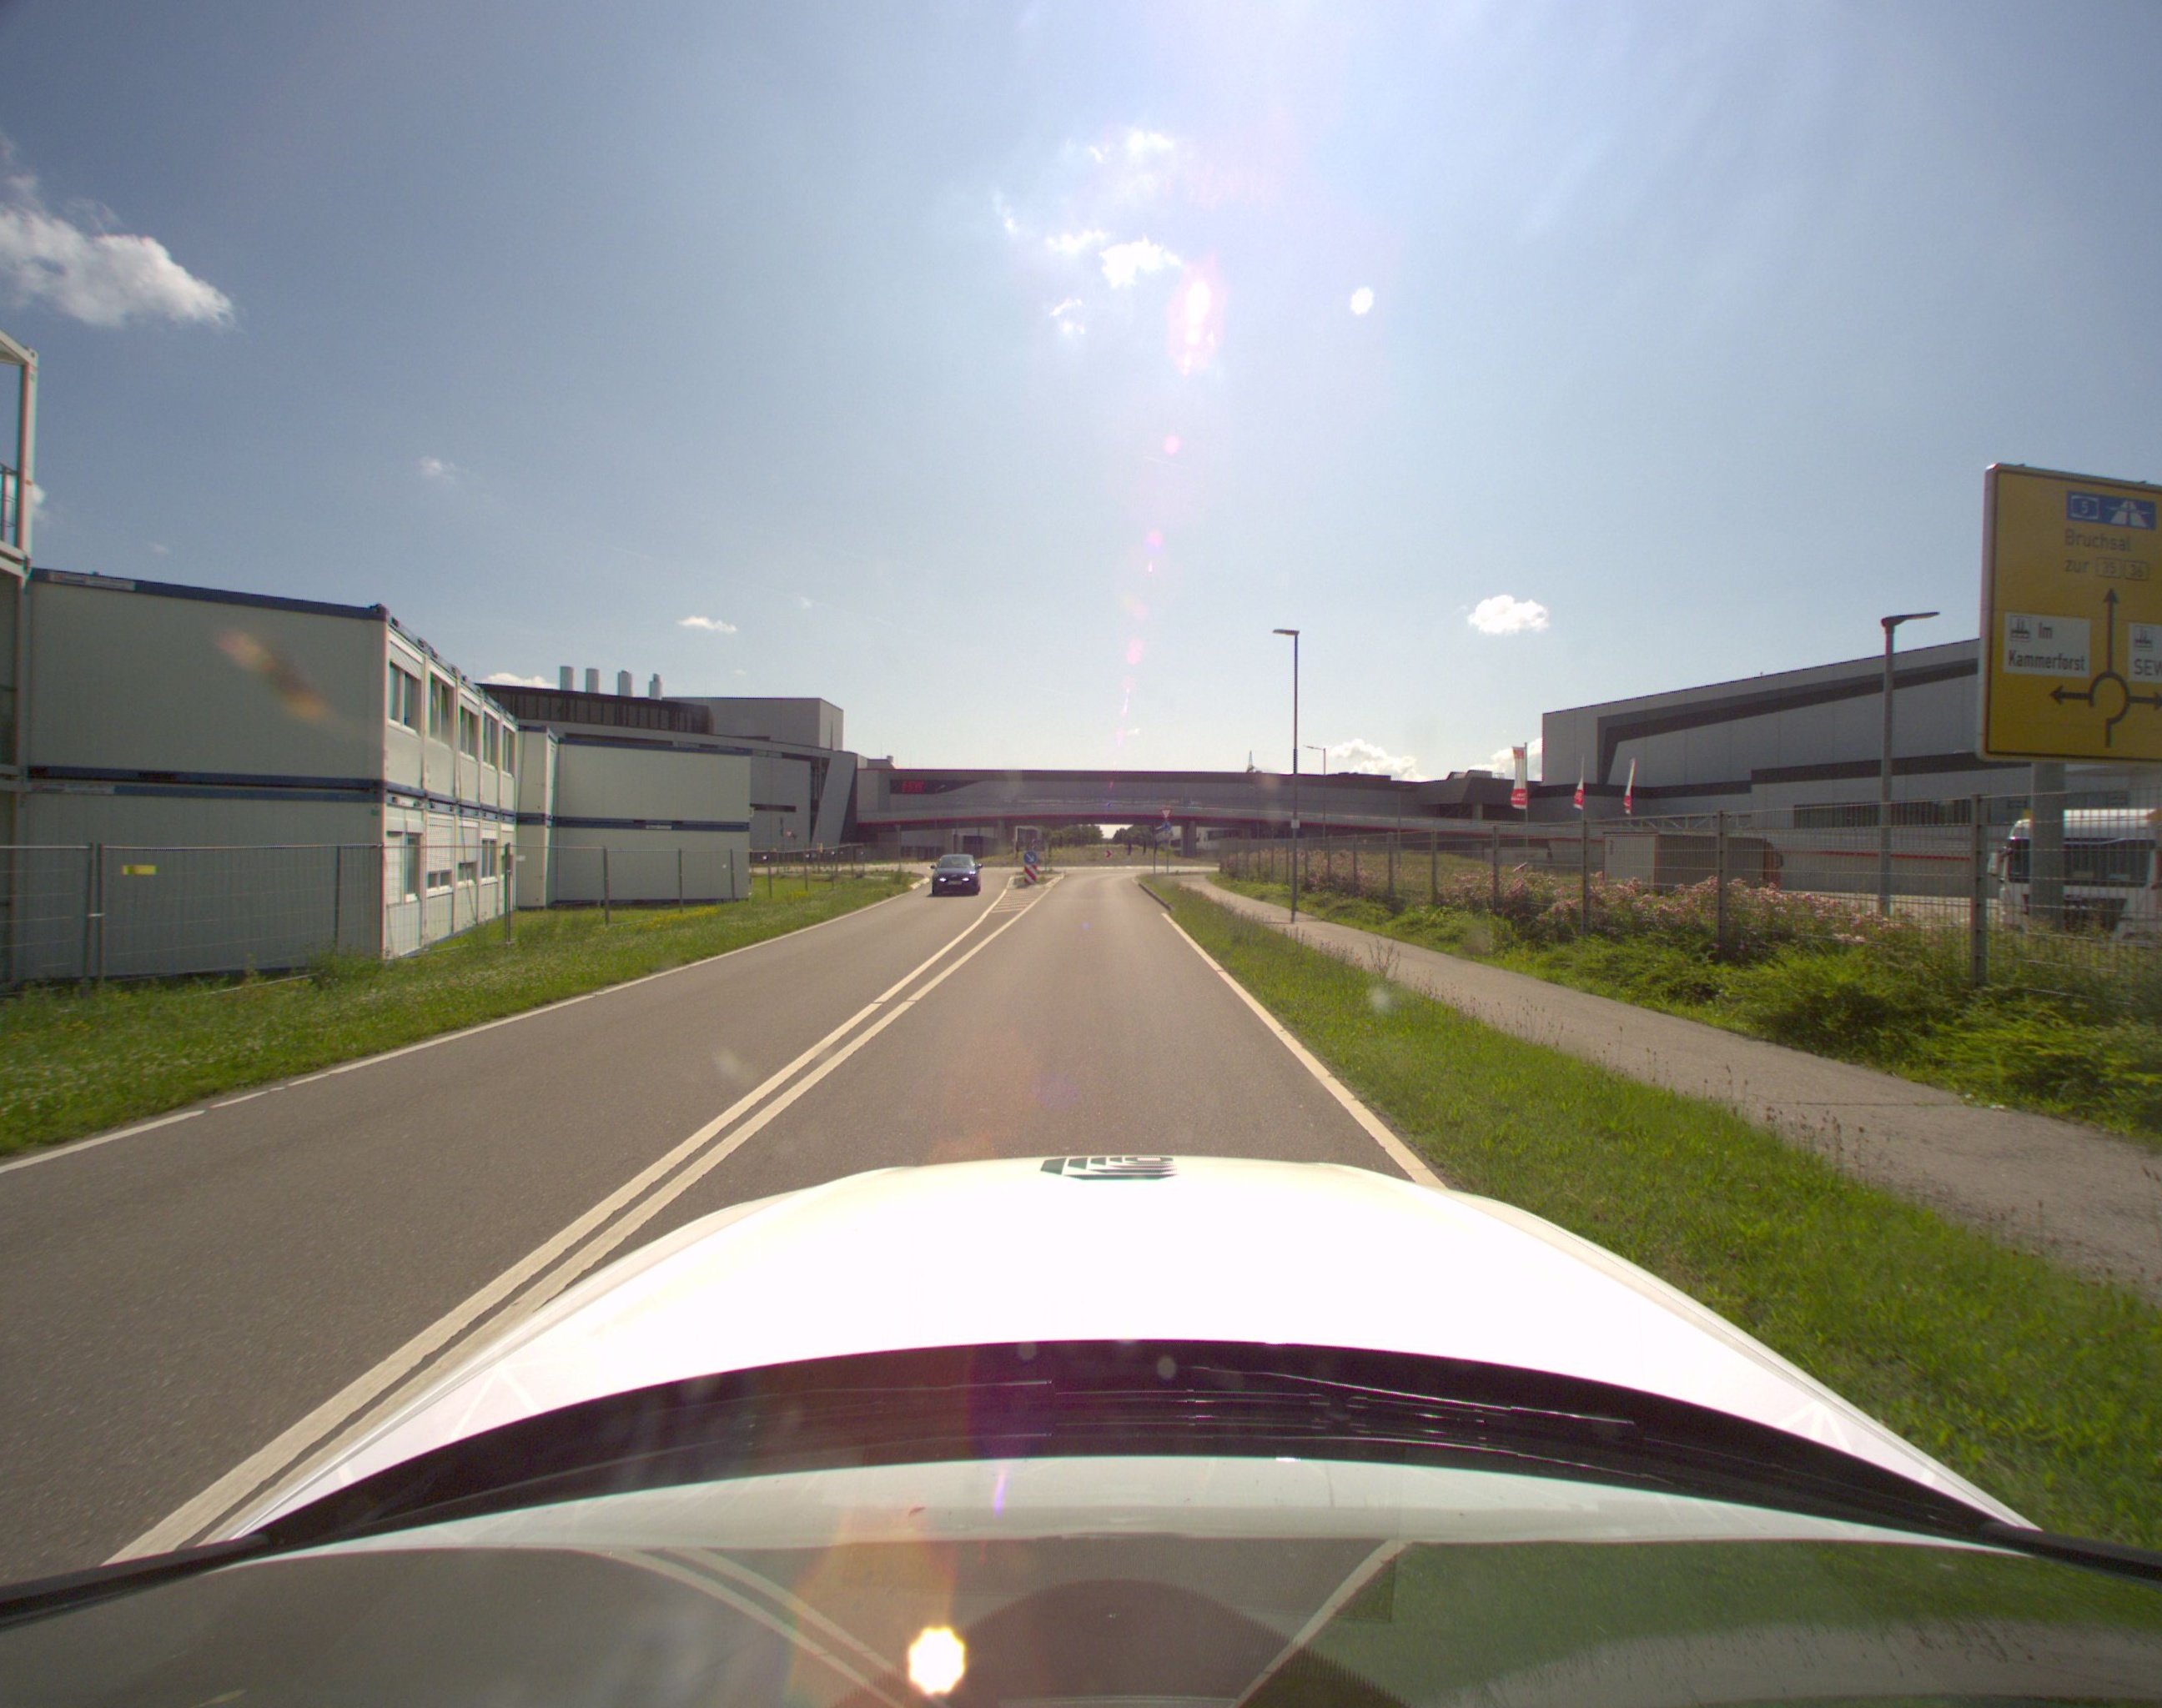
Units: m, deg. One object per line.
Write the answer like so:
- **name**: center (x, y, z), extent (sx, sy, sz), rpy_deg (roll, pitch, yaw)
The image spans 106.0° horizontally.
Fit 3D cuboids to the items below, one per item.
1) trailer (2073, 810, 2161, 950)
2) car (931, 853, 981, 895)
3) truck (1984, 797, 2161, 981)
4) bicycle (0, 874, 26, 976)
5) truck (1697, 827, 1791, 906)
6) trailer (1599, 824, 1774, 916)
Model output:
- **trailer**: center (36.657, 0.770, 27.775), extent (8.752, 4.296, 2.870), rpy_deg (0, -1, -35)
- **car**: center (-4.680, 0.733, 30.942), extent (1.701, 1.482, 3.990), rpy_deg (-1, 0, -7)
- **truck**: center (28.472, 0.767, 22.410), extent (11.010, 4.172, 2.795), rpy_deg (0, -1, -31)
- **bicycle**: center (-14.836, 0.926, 10.104), extent (2.052, 1.301, 0.603), rpy_deg (0, -1, -29)
- **truck**: center (39.415, 0.706, 48.375), extent (5.309, 4.423, 2.738), rpy_deg (0, -1, -32)
- **trailer**: center (33.440, 0.752, 44.595), extent (14.113, 4.438, 2.738), rpy_deg (0, -1, -32)
